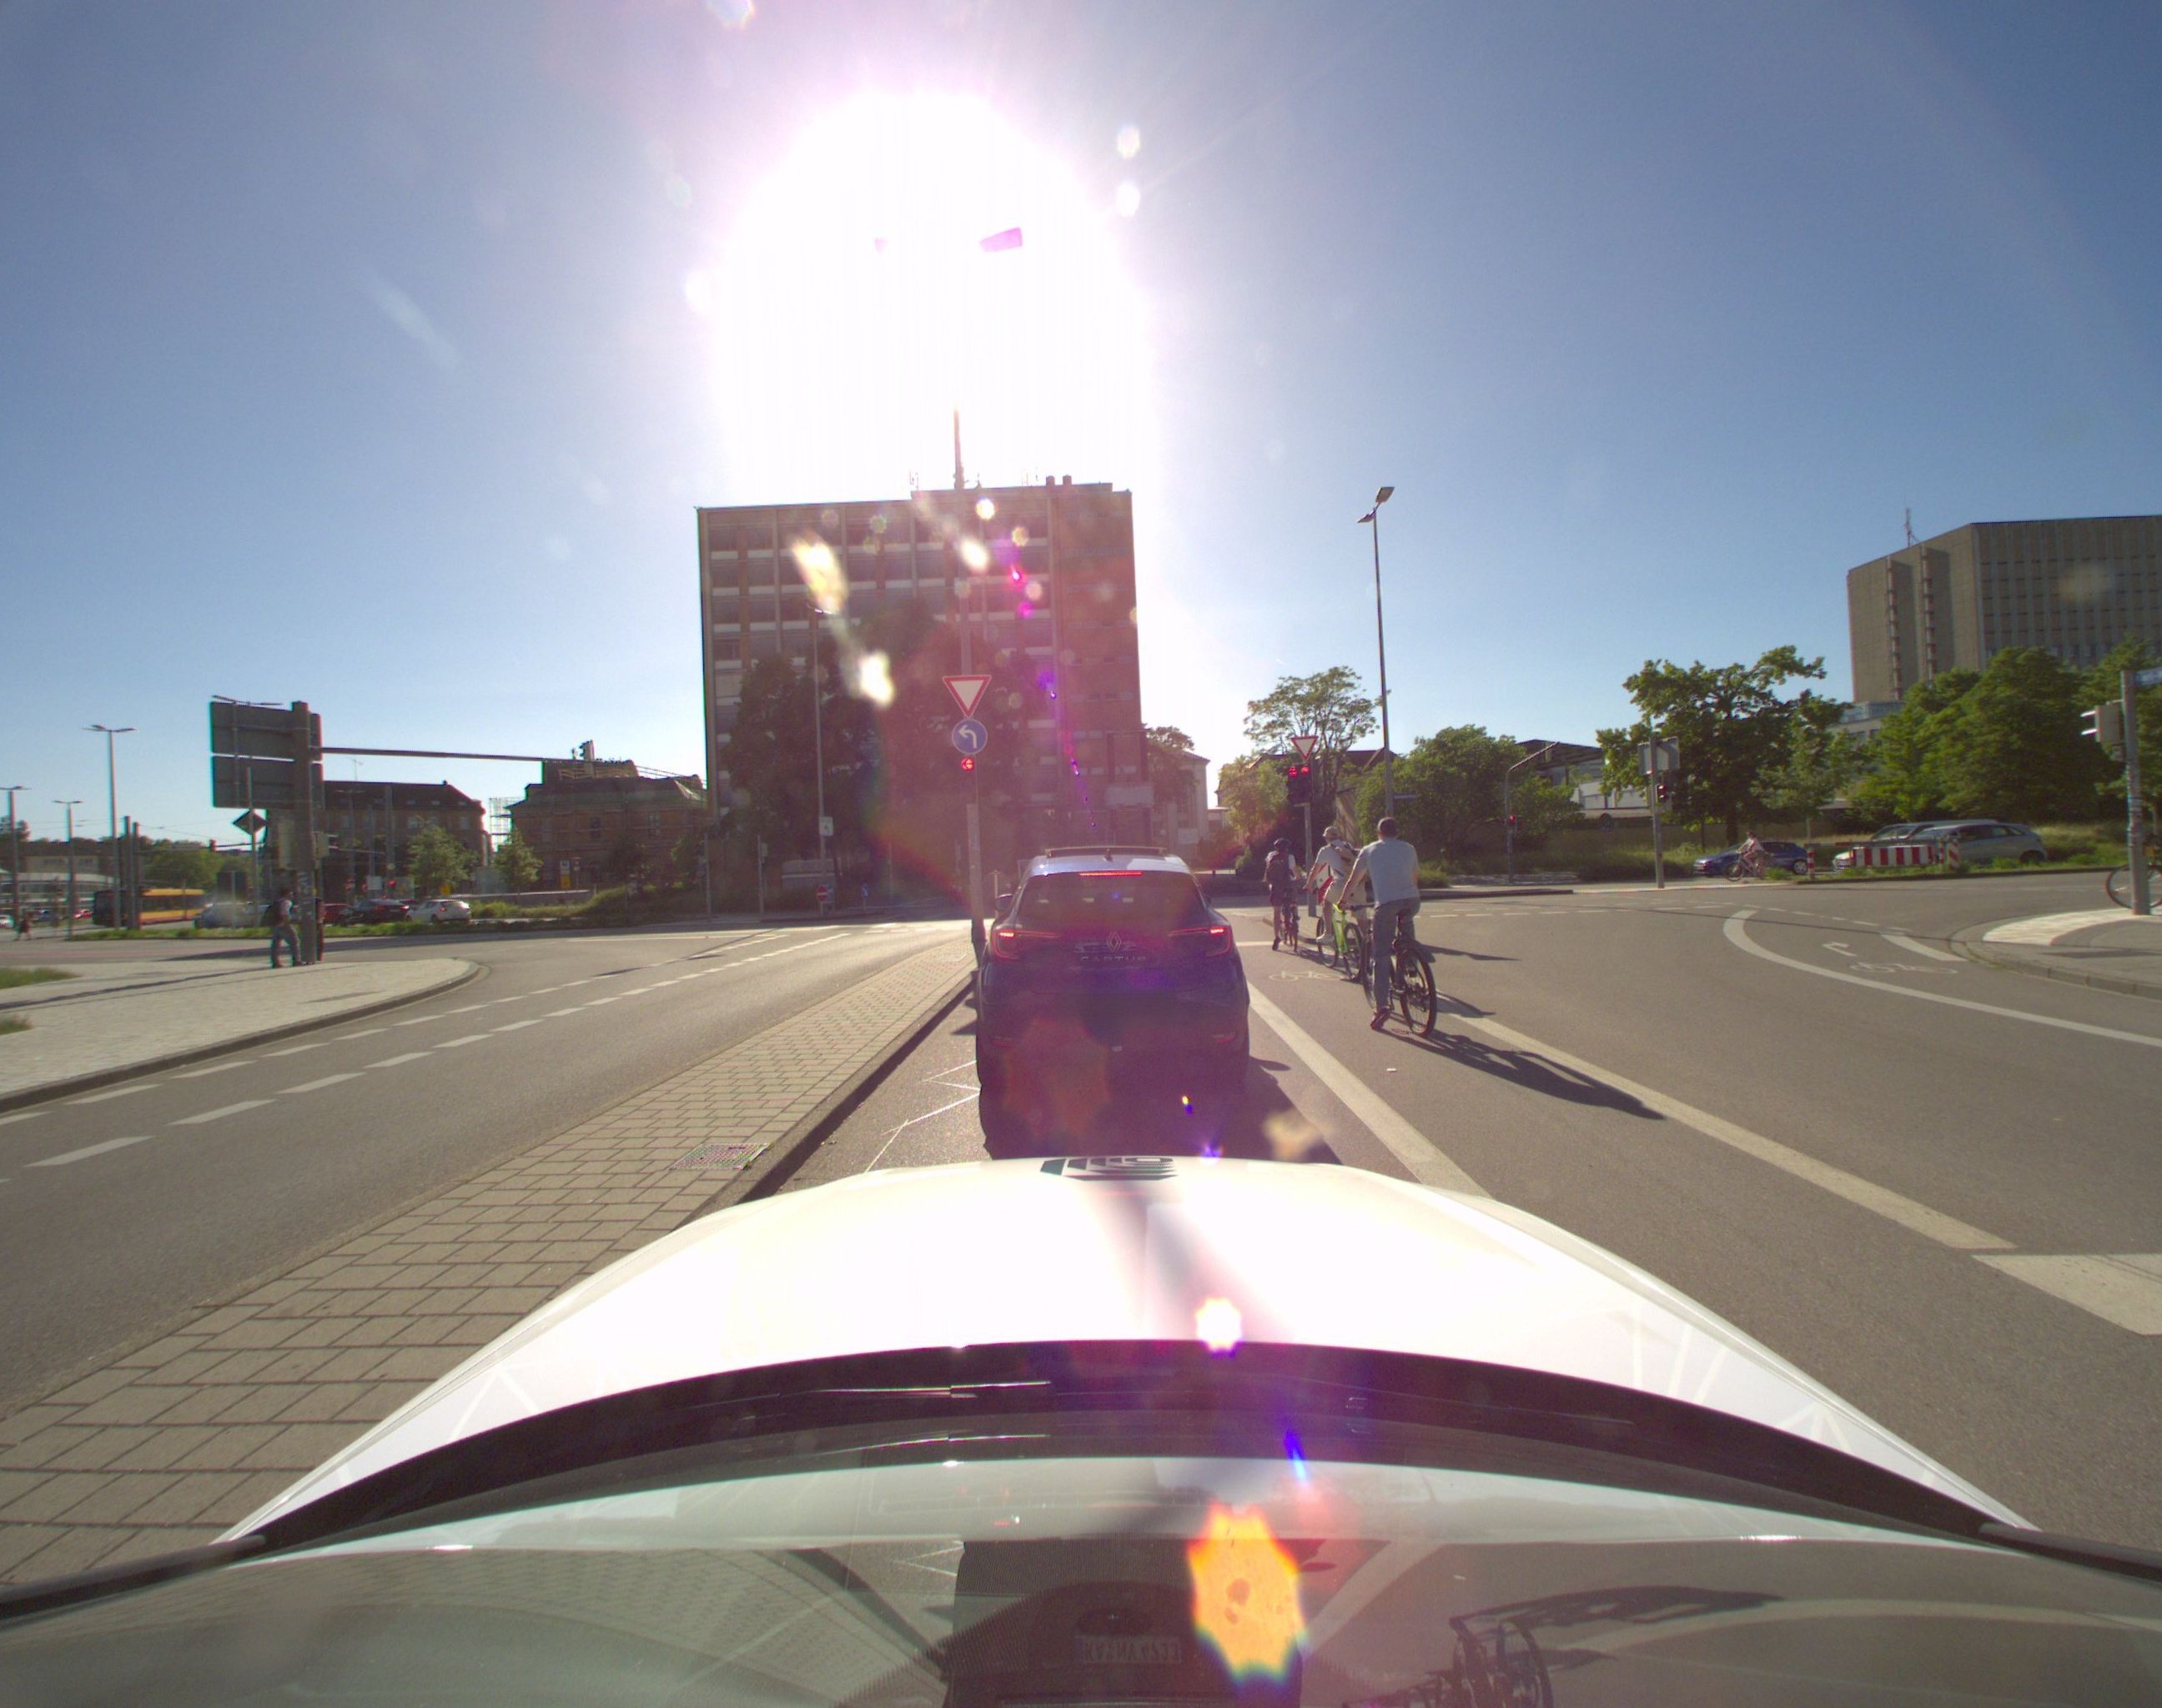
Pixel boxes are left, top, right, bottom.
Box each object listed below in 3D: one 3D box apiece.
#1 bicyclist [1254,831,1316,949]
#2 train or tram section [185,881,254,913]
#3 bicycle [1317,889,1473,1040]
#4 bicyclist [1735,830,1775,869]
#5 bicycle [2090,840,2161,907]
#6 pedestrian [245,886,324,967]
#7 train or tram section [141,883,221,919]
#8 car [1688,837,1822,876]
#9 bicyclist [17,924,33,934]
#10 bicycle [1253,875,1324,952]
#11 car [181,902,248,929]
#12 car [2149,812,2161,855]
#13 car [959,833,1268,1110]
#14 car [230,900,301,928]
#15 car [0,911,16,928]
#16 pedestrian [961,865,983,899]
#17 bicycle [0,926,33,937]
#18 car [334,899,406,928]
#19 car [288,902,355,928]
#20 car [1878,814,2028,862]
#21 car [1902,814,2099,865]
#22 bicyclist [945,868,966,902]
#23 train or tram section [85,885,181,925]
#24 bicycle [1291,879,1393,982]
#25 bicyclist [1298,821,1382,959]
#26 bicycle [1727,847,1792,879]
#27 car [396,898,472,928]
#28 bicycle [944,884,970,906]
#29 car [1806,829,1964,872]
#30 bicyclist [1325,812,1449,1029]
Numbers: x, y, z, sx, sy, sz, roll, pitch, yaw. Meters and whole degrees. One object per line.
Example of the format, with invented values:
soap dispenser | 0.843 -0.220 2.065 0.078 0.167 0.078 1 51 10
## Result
bicyclist | 3.255 0.559 13.071 0.697 1.791 1.142 -1 -1 2
train or tram section | -98.981 4.863 93.774 2.710 3.232 10.495 0 -1 -31
bicycle | 2.718 0.899 7.300 0.687 1.089 1.923 -1 0 2
bicyclist | 24.030 -0.160 29.043 0.870 1.343 0.612 -2 -1 7
bicycle | 15.911 0.268 11.617 0.640 0.958 1.866 -2 -1 -39
pedestrian | -18.033 1.627 18.463 0.647 1.730 1.066 -3 -1 15
train or tram section | -93.529 4.750 84.873 2.710 3.232 10.495 0 -1 -31
car | 28.129 0.106 34.099 3.965 1.398 1.798 -3 -1 7
bicyclist | -66.552 4.741 51.306 0.425 0.549 0.575 -3 -1 42
bicycle | 3.263 0.904 12.974 0.687 1.089 1.923 -1 0 2
car | -54.920 3.889 51.623 3.834 1.508 1.805 -3 -1 25
car | 36.896 -0.762 25.324 4.534 1.398 1.798 -3 -1 7
car | 0.194 0.704 6.756 1.783 1.585 3.913 -1 0 0
car | -48.871 3.602 48.791 3.834 1.508 1.805 -3 -1 25
car | -111.885 6.824 83.979 1.753 1.651 3.952 -2 -1 -42
pedestrian | -6.057 1.554 45.326 0.807 1.862 0.913 -3 -1 15
bicycle | -66.830 4.880 50.995 0.429 0.549 1.419 -3 -1 42
car | -42.557 3.561 48.727 3.834 1.508 1.805 -3 -1 25
car | -48.214 3.867 51.695 3.834 1.508 1.805 -3 -1 25
car | 35.865 -0.618 33.600 3.965 1.749 1.798 -2 -1 7
car | 29.216 -0.434 25.993 3.965 1.398 1.798 -3 -1 7
bicyclist | -6.463 1.585 42.085 0.751 1.716 1.001 -2 -1 7
train or tram section | -88.047 4.637 75.891 2.710 3.232 10.495 0 -1 -31
bicycle | 3.190 0.891 10.135 0.687 1.089 1.923 -1 0 2
bicyclist | 3.182 0.424 10.103 0.676 1.594 1.142 -1 -1 1
bicycle | 24.162 0.320 29.024 1.673 1.033 0.612 -2 -1 7
car | -36.401 3.334 45.823 3.834 1.508 1.805 -3 -1 25
bicycle | -6.428 2.111 42.228 0.751 0.985 2.098 -2 0 8
car | 30.291 -0.136 30.785 3.965 1.398 1.798 -3 -1 7
bicyclist | 2.715 0.557 7.353 0.680 1.791 1.142 -1 -1 2
